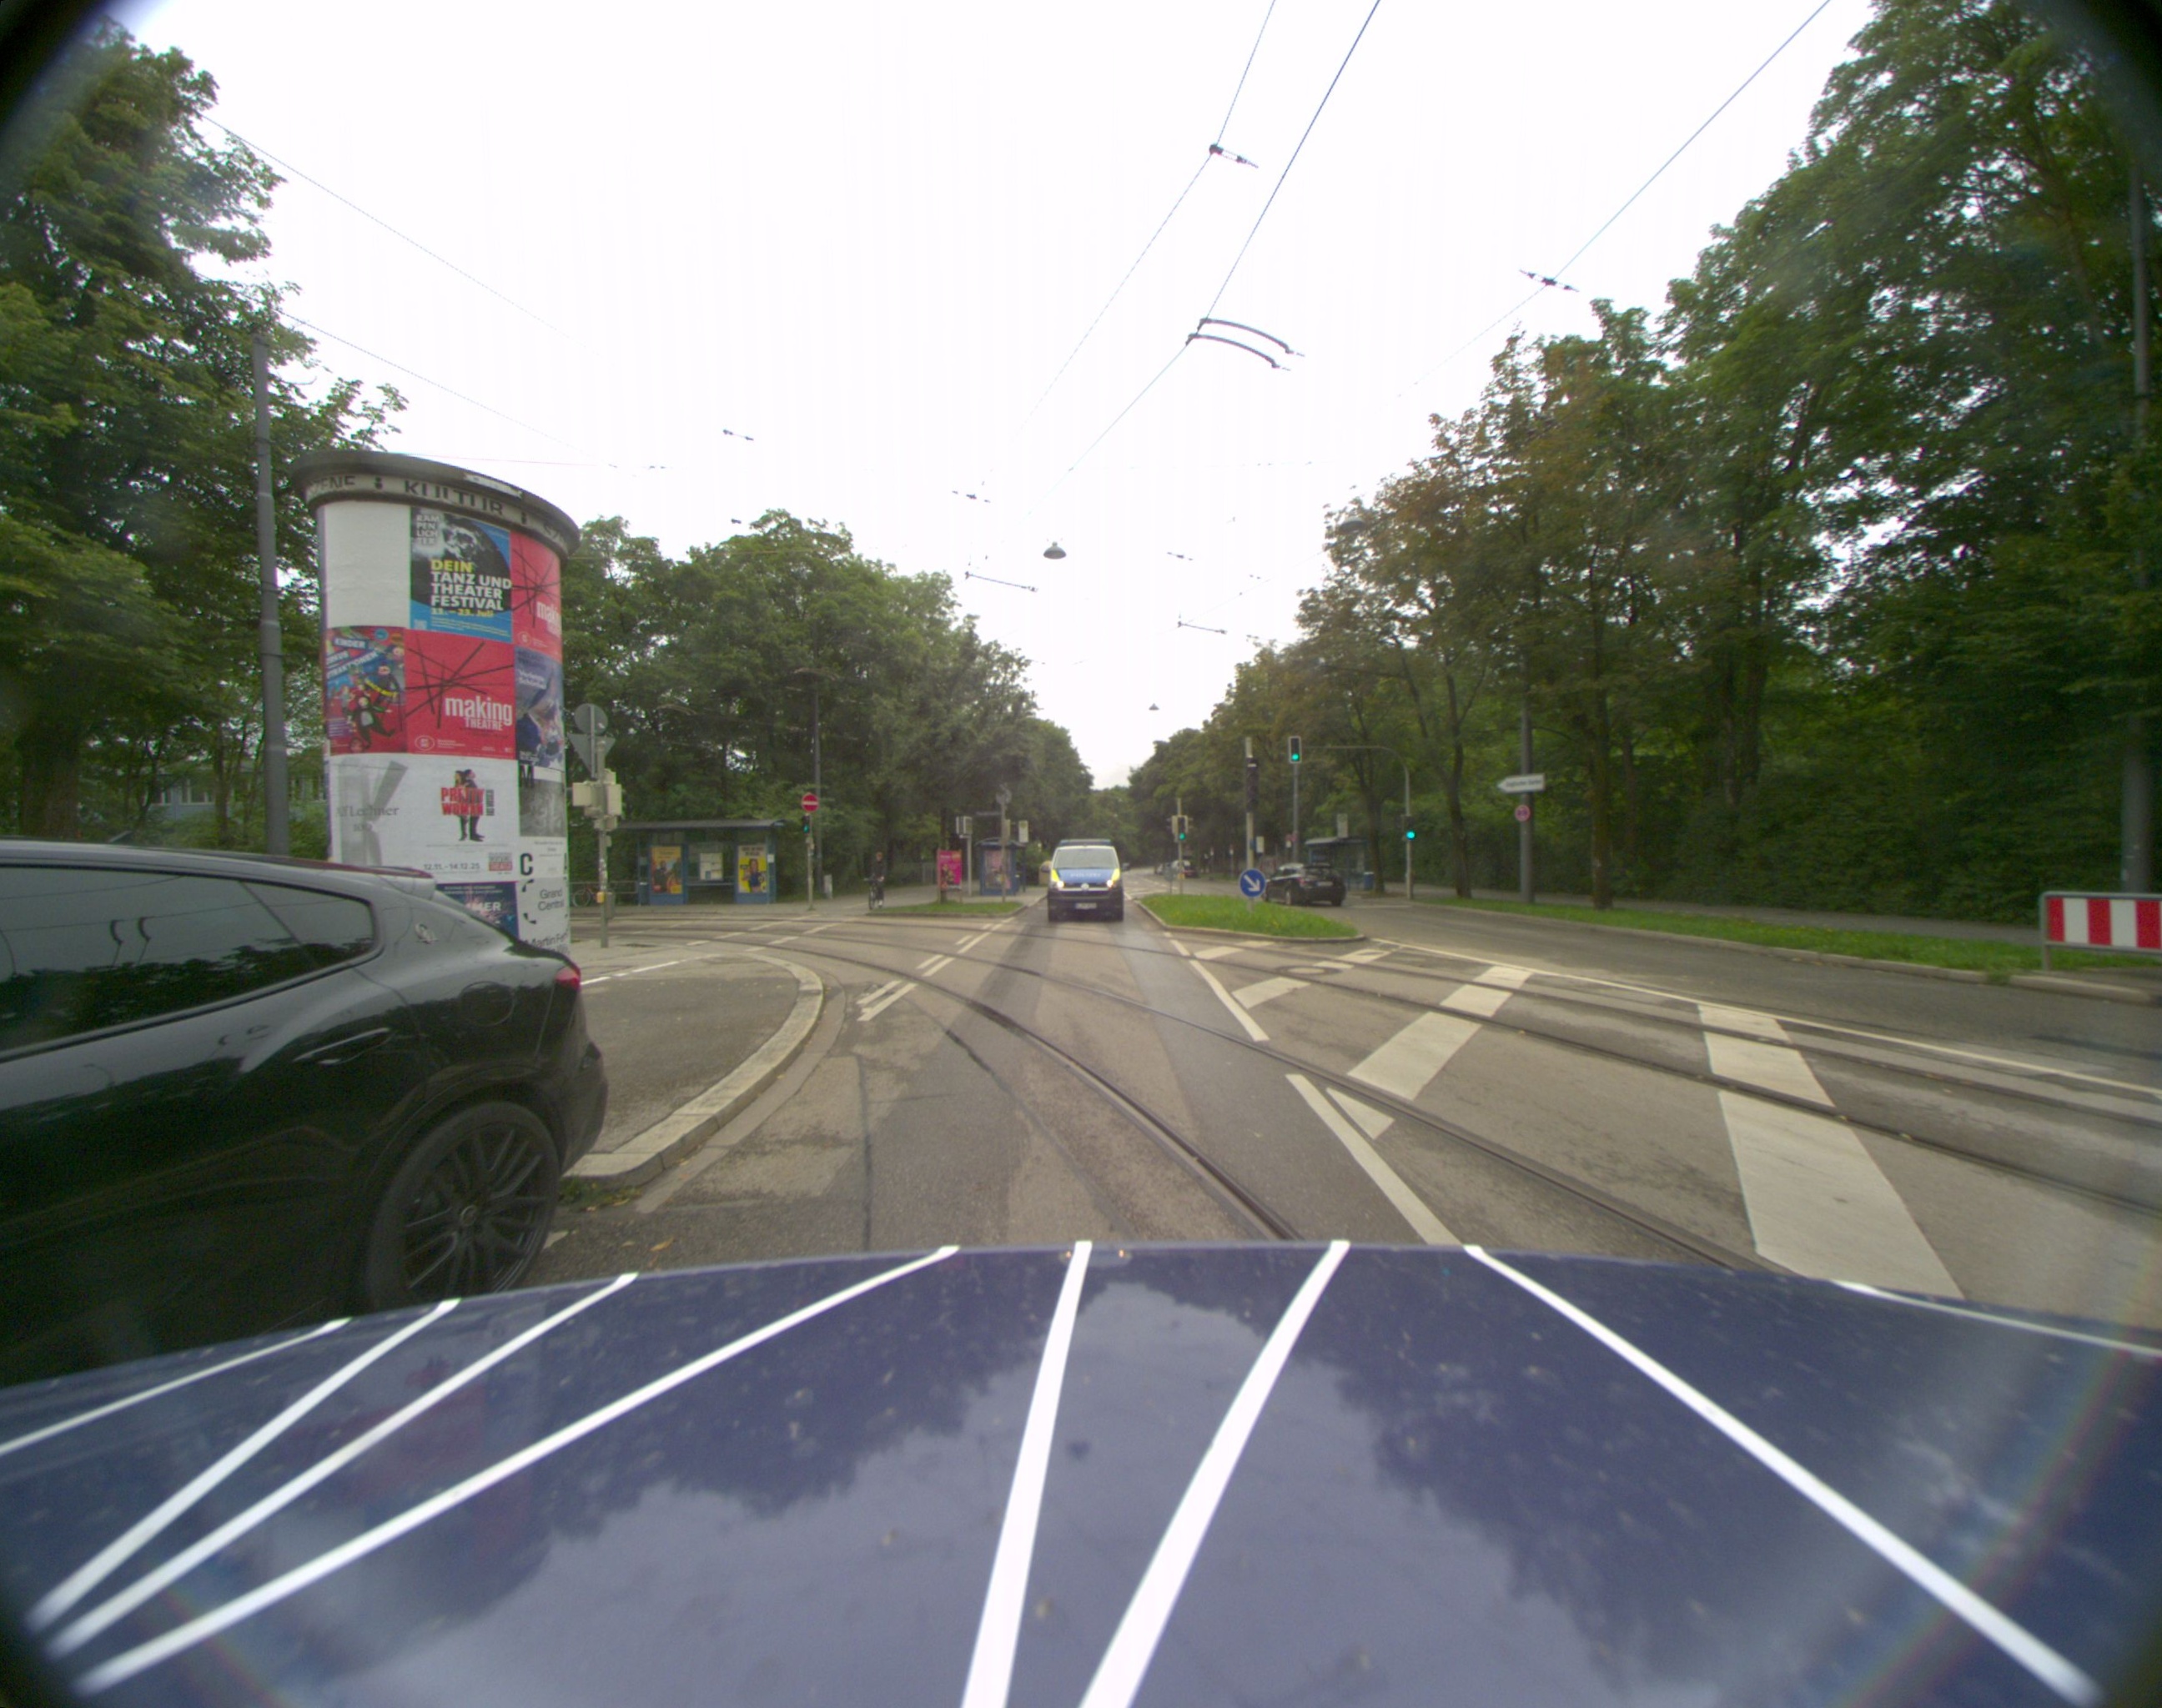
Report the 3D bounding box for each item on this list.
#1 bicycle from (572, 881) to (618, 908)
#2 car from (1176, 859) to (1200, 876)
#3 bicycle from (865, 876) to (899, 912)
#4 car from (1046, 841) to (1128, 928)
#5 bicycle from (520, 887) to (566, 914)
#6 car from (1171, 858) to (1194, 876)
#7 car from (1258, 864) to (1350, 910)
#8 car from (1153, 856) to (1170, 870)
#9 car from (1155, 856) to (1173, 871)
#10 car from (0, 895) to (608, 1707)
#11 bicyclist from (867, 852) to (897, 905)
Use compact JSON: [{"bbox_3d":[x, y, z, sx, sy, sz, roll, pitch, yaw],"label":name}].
[{"bbox_3d":[-17.995,1.508,28.120,1.483,0.946,0.373,-1,1,4],"label":"bicycle"},{"bbox_3d":[10.871,1.380,77.577,1.888,1.532,3.999,-3,1,0],"label":"car"},{"bbox_3d":[-6.651,1.311,25.521,0.580,1.072,1.912,-3,1,0],"label":"bicycle"},{"bbox_3d":[0.149,0.704,20.807,1.903,2.041,5.708,-1,1,0],"label":"car"},{"bbox_3d":[-20.070,1.727,28.336,1.483,0.946,0.373,-1,1,4],"label":"bicycle"},{"bbox_3d":[11.058,1.397,83.206,1.888,1.716,3.999,-3,1,0],"label":"car"},{"bbox_3d":[7.611,1.085,26.422,1.628,1.380,4.839,1,0,-2],"label":"car"},{"bbox_3d":[10.871,1.215,103.021,1.888,1.716,3.999,-3,1,0],"label":"car"},{"bbox_3d":[10.638,1.215,97.881,1.888,1.716,3.999,-3,1,0],"label":"car"},{"bbox_3d":[-3.046,1.004,0.847,1.905,1.600,4.666,-3,0,2],"label":"car"},{"bbox_3d":[-6.673,0.825,25.543,0.726,1.719,0.726,-3,1,-1],"label":"bicyclist"}]
